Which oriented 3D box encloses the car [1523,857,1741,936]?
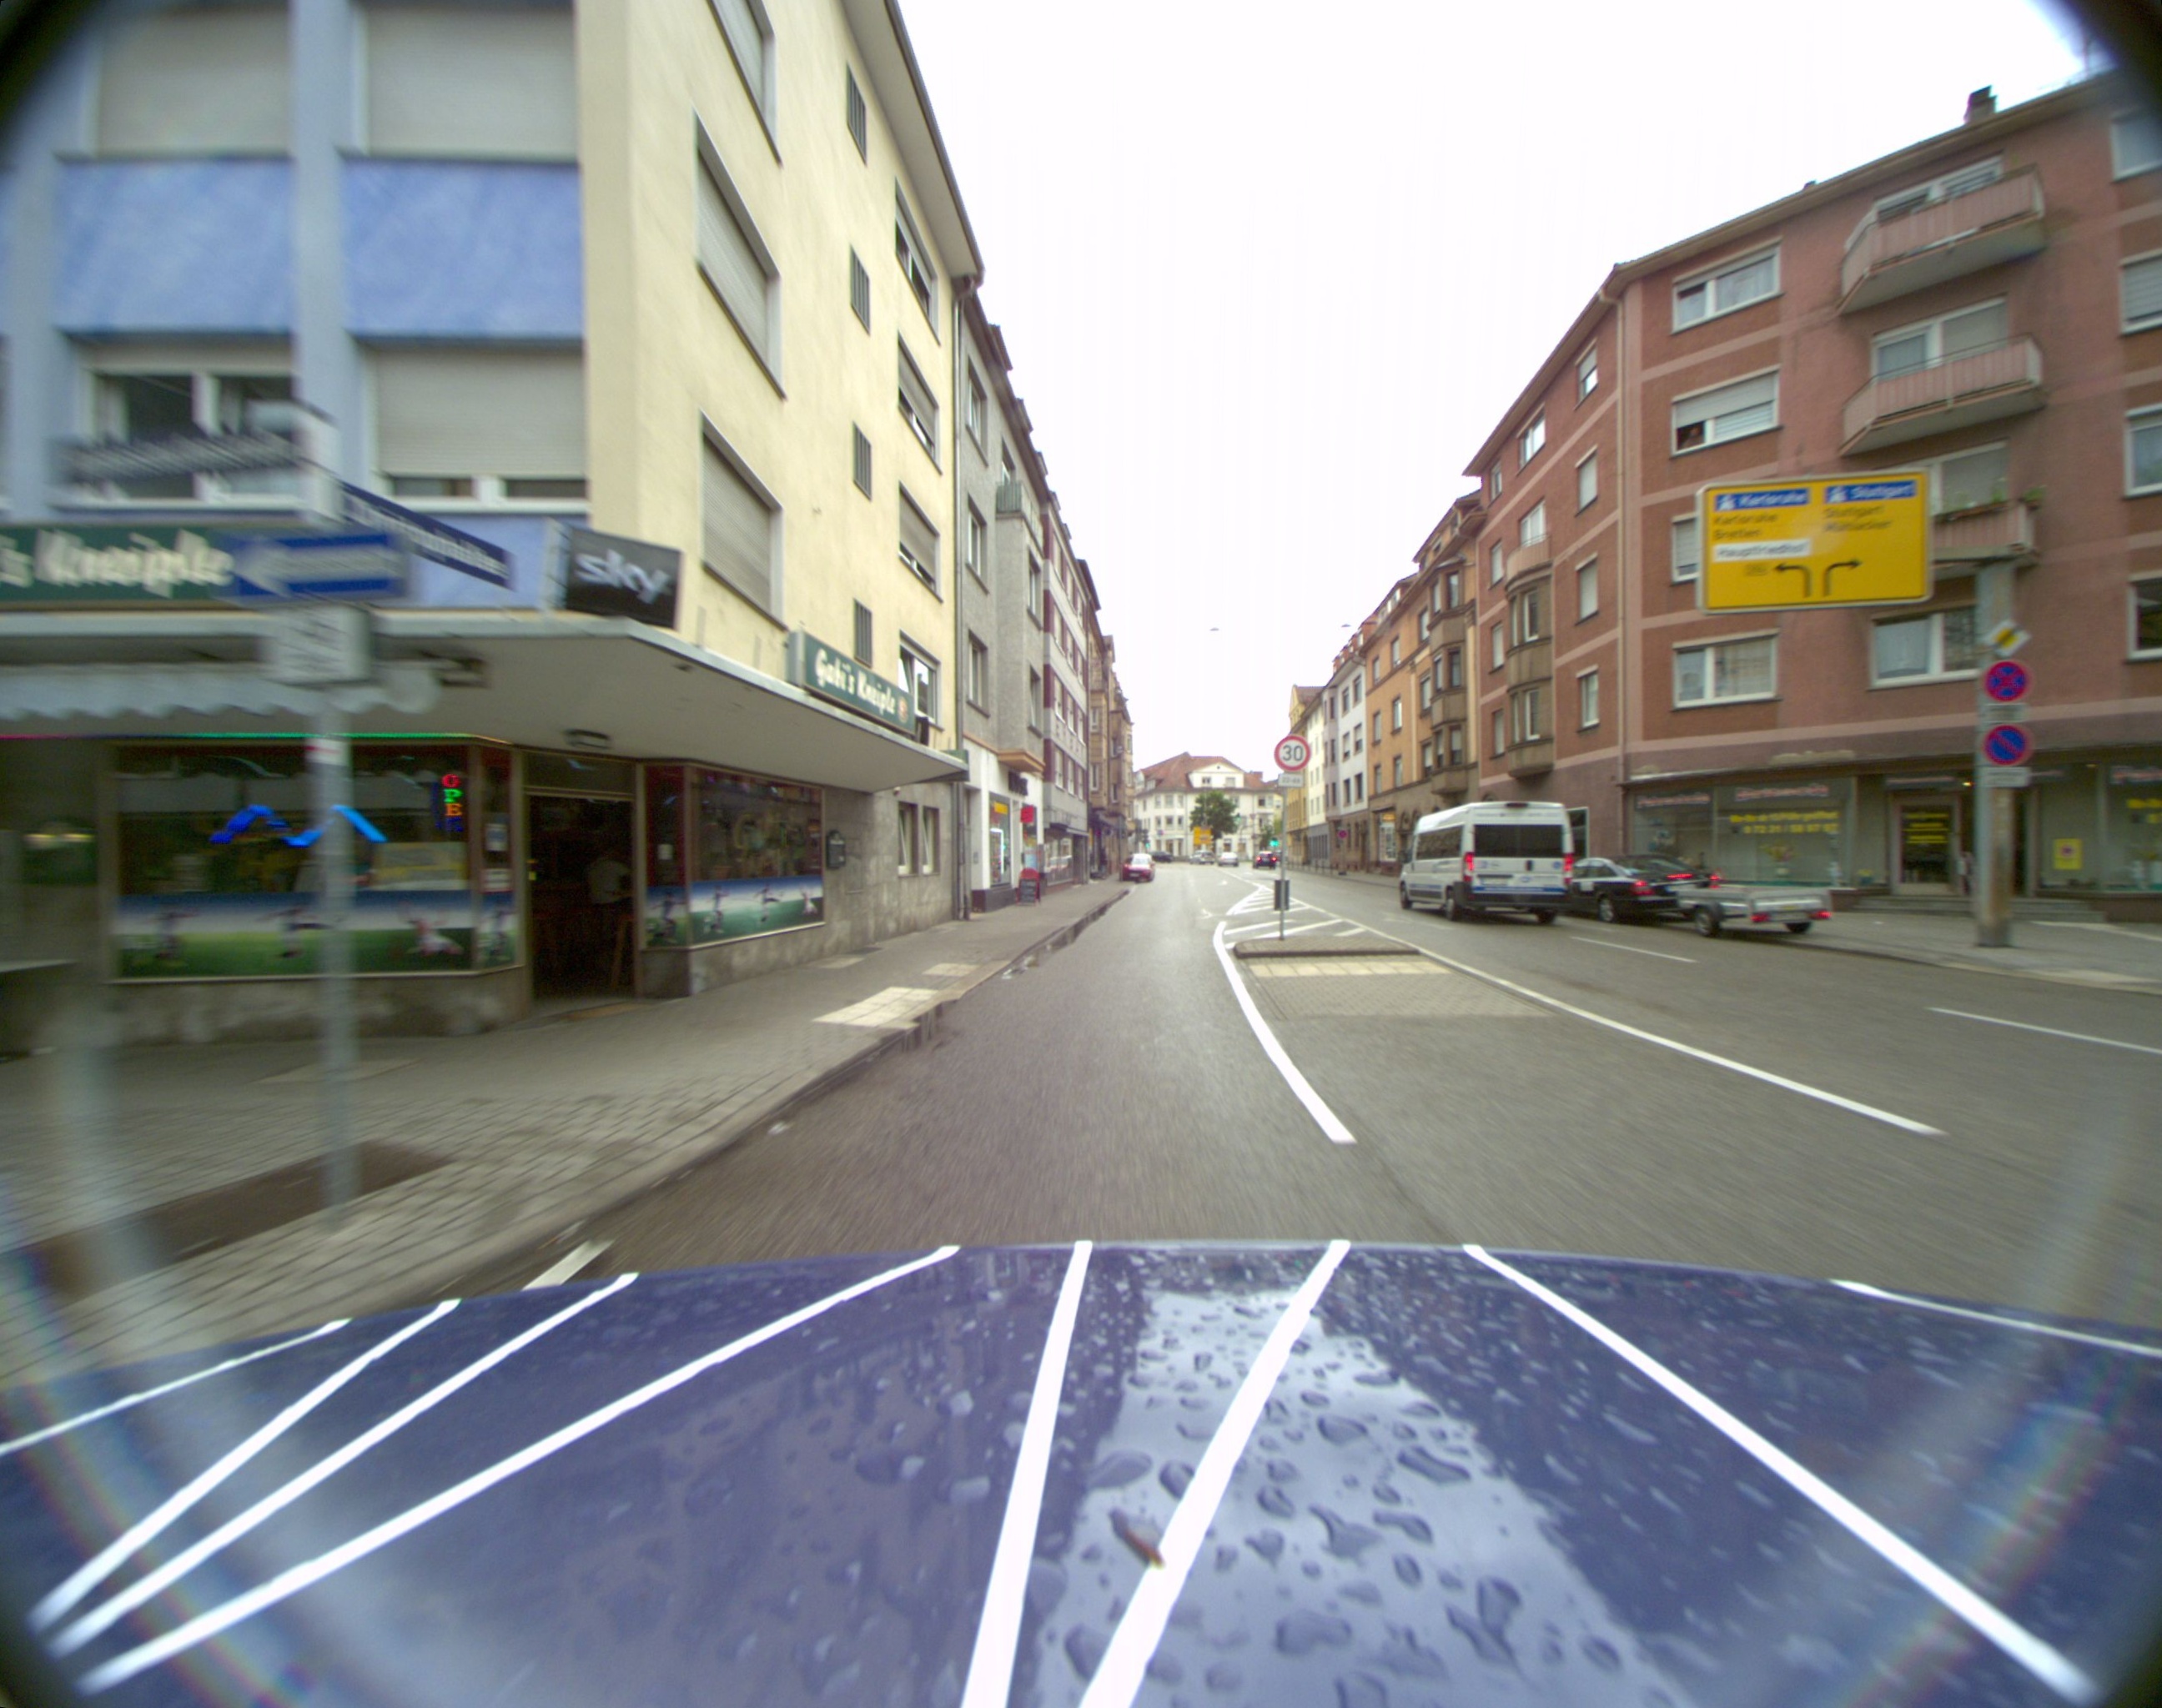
[{"bbox_3d":[12.185,0.853,17.303,1.854,1.389,4.795,-4,0,7],"label":"car"}]

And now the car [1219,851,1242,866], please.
[{"bbox_3d":[15.488,0.469,78.950,1.946,1.462,4.561,-1,1,7],"label":"car"}]

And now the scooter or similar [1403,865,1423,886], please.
[{"bbox_3d":[15.948,1.025,36.522,0.714,0.920,0.480,-3,1,-5],"label":"scooter or similar"}]

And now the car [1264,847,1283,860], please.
[{"bbox_3d":[24.150,-0.105,95.536,1.984,1.586,4.340,-1,1,10],"label":"car"}]

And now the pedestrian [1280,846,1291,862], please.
[{"bbox_3d":[22.821,0.010,84.646,0.895,1.760,1.033,-5,1,5],"label":"pedestrian"}]

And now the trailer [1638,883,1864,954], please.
[{"bbox_3d":[11.542,1.071,13.362,1.590,0.944,3.058,-2,0,9],"label":"trailer"}]

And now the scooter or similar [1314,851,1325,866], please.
[{"bbox_3d":[19.526,0.347,62.211,0.462,1.206,1.579,-5,1,6],"label":"scooter or similar"}]

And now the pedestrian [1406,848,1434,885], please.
[{"bbox_3d":[15.998,0.568,35.888,0.845,1.669,0.853,-3,1,-5],"label":"pedestrian"}]

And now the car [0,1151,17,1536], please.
[{"bbox_3d":[-4.625,0.940,0.965,3.834,1.565,1.936,-1,1,1],"label":"car"}]

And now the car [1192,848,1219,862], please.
[{"bbox_3d":[14.911,0.108,91.107,1.949,1.574,4.517,-1,1,-8],"label":"car"}]

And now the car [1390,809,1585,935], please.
[{"bbox_3d":[9.151,0.314,17.904,2.090,2.421,6.356,-1,1,9],"label":"car"}]

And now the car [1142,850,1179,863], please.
[{"bbox_3d":[10.403,0.291,99.441,4.591,1.574,1.953,0,1,43],"label":"car"}]

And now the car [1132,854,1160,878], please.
[{"bbox_3d":[4.495,0.773,51.885,1.650,1.485,4.450,-1,1,8],"label":"car"}]

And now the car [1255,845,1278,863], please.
[{"bbox_3d":[17.266,-0.025,70.850,1.757,1.642,4.309,-1,1,9],"label":"car"}]

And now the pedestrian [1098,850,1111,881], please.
[{"bbox_3d":[1.375,0.661,44.424,0.745,1.769,0.796,-1,1,5],"label":"pedestrian"}]

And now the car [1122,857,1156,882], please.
[{"bbox_3d":[3.454,0.862,44.420,1.747,1.361,4.317,-1,0,7],"label":"car"}]
